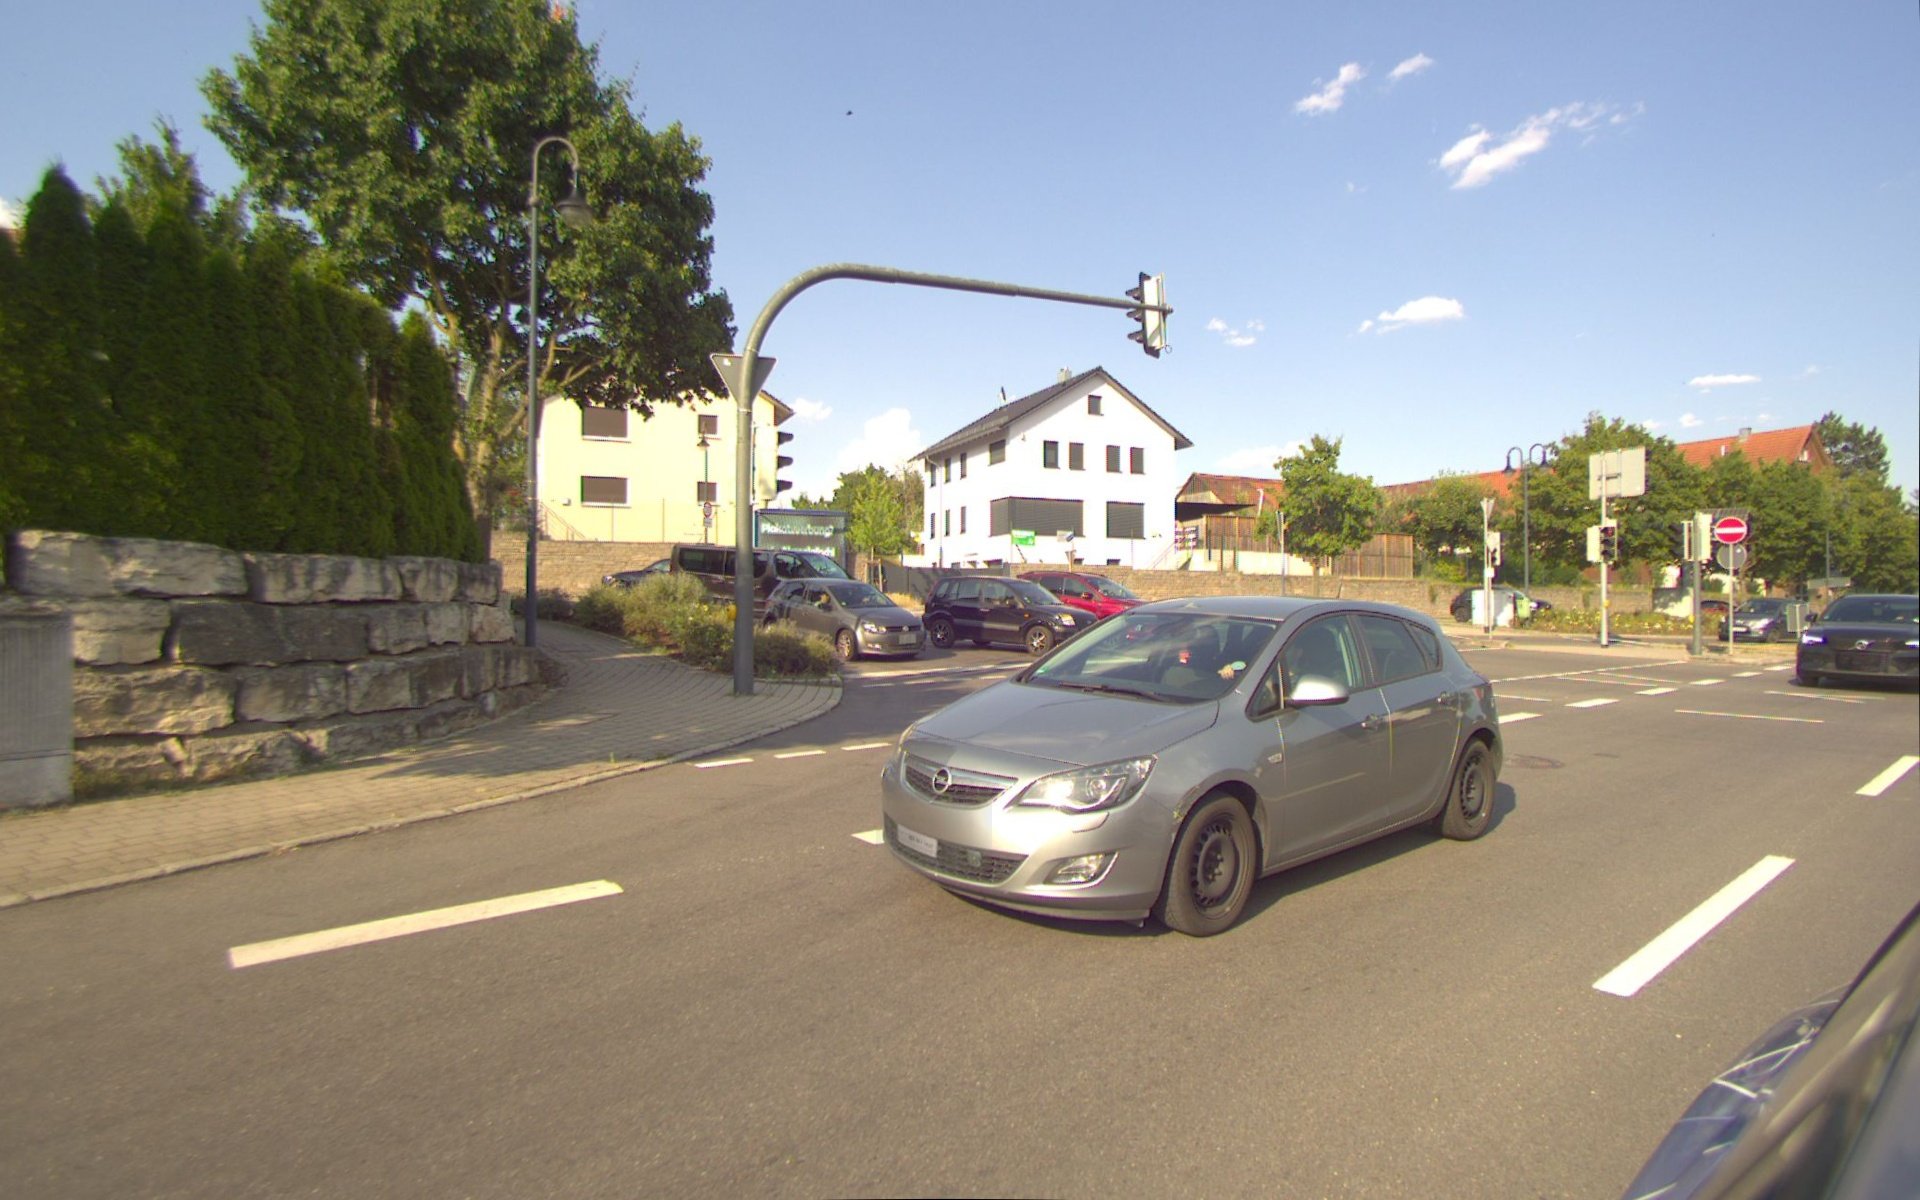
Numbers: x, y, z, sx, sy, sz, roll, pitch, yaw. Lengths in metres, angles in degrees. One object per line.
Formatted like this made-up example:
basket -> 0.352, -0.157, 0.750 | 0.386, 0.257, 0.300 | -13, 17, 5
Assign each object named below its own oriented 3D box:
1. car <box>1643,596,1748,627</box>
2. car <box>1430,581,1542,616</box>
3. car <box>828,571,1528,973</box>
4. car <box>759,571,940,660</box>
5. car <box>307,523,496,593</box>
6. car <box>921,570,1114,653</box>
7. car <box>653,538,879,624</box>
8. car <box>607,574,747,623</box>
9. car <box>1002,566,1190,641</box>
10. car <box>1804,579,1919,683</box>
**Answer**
car -> 37.377, 0.557, 51.508 | 1.714, 1.449, 4.003 | 1, 0, -32
car -> 22.783, -0.077, 43.988 | 1.644, 1.474, 4.085 | 1, 0, -28
car -> 1.449, 0.628, 5.645 | 4.070, 1.440, 1.651 | 1, 2, -40
car -> -2.194, 0.214, 19.471 | 1.600, 1.467, 3.602 | -1, 3, -44
car -> -14.378, -1.039, 26.297 | 3.916, 1.664, 2.004 | 1, 0, -14
car -> 1.132, 0.177, 20.901 | 3.780, 1.561, 1.576 | 1, 1, 39
car -> -4.727, -0.475, 24.786 | 5.106, 1.956, 1.990 | 1, 0, 16
car -> -9.652, -0.022, 34.533 | 4.401, 1.586, 1.849 | 1, 0, -22
car -> 3.191, 0.047, 24.301 | 4.240, 1.646, 1.832 | 1, 0, 44
car -> 16.232, 0.494, 17.562 | 3.985, 1.625, 1.791 | 1, 0, -41
